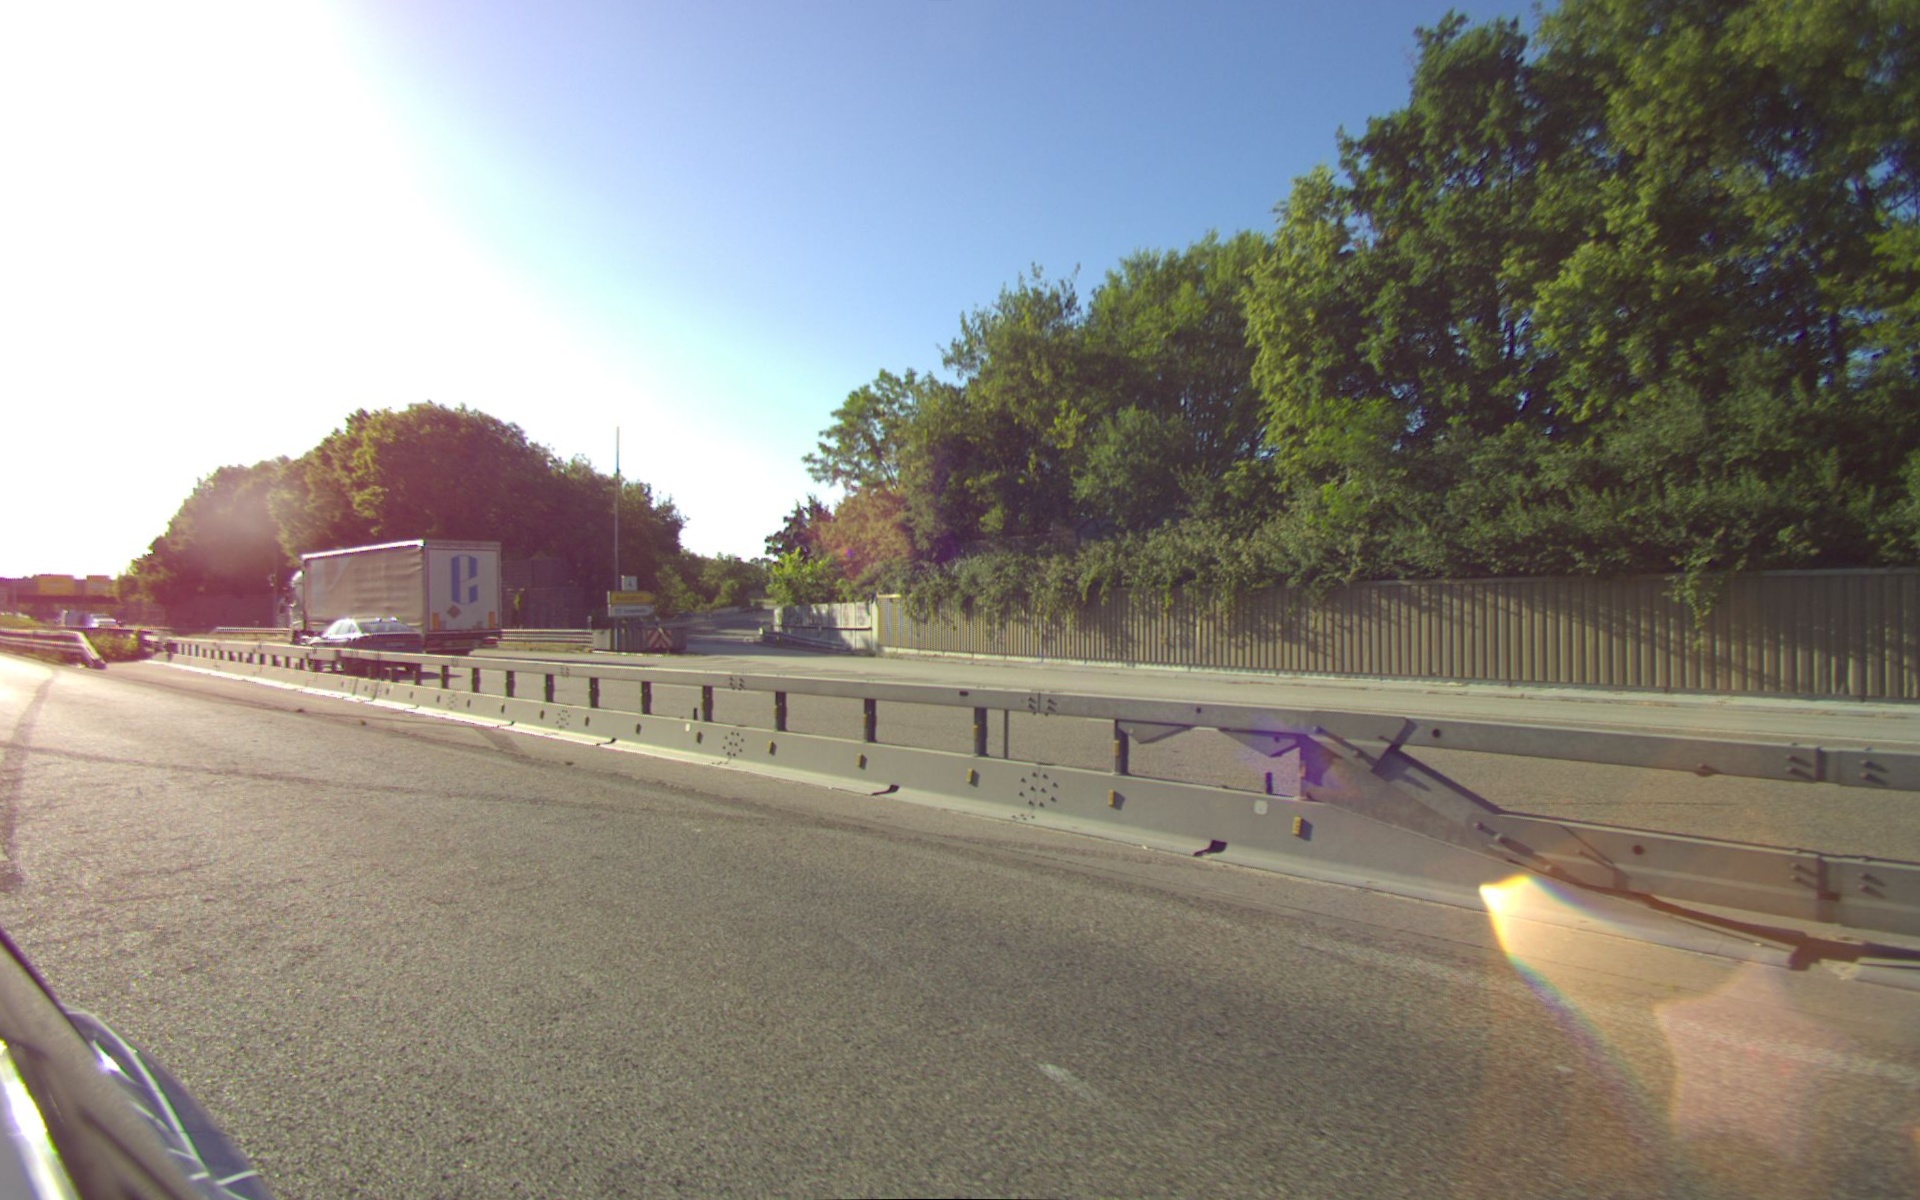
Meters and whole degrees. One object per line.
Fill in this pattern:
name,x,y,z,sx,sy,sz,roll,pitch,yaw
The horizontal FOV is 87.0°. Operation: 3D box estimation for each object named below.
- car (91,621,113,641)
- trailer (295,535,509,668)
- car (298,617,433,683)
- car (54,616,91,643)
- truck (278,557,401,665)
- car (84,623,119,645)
car,-108.568,3.925,128.068,2.051,2.298,5.382,-1,-1,-41
trailer,-21.742,0.281,38.700,14.081,4.312,2.718,-3,-1,42
car,-16.866,1.391,28.598,4.938,1.670,1.972,-3,-1,43
car,-92.748,3.055,105.727,6.050,2.631,2.124,-3,-1,42
truck,-26.487,0.524,43.080,6.385,4.294,2.706,-3,-1,42
car,-73.518,2.925,86.665,1.970,1.796,4.788,-1,-1,-44
